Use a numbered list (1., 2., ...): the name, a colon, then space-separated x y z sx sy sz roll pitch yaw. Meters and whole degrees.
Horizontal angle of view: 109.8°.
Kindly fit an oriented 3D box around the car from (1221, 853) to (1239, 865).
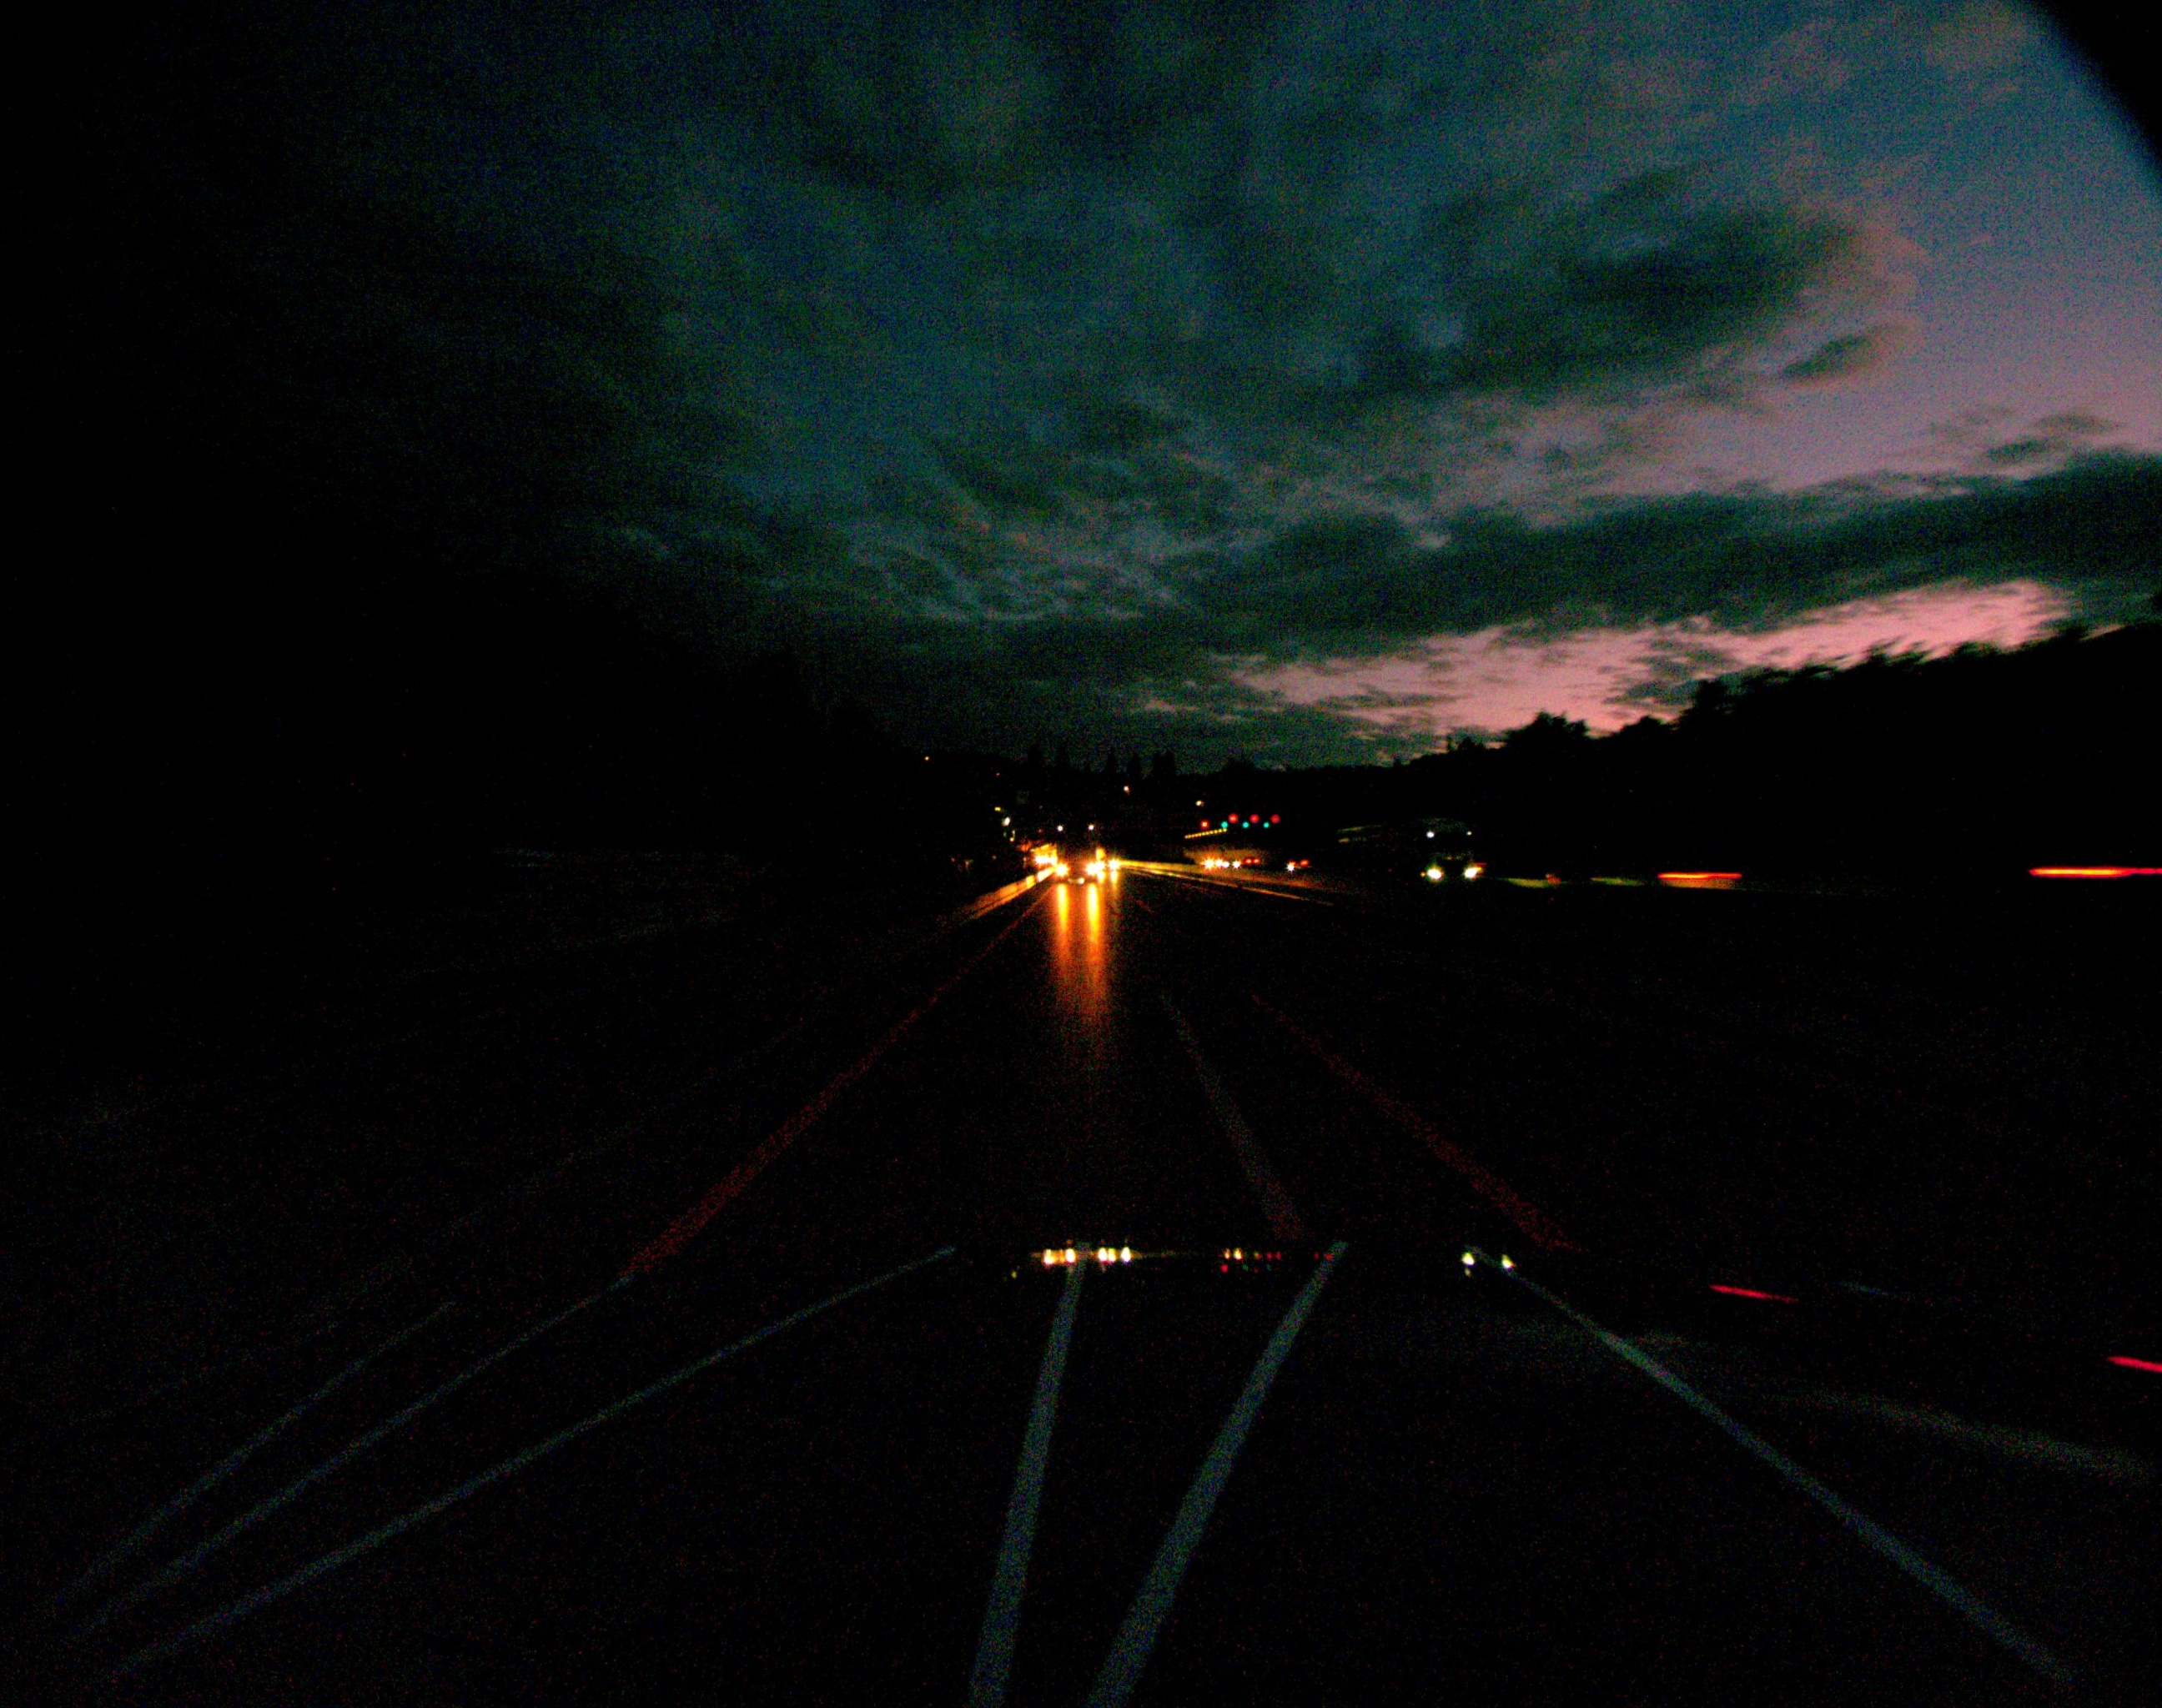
1. car: 20.937 0.674 106.898 1.791 1.472 4.000 -3 1 1

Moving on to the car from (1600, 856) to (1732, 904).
1. car: 23.171 0.953 30.353 1.683 1.628 4.751 -3 1 2

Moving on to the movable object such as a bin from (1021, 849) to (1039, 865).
1. movable object such as a bin: -9.640 0.500 144.443 2.978 2.811 7.194 -3 1 -2

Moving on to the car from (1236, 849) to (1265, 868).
1. car: 18.261 0.420 81.979 2.095 1.873 4.700 -3 1 1

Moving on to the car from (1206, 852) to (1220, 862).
1. car: 20.947 0.471 120.877 1.509 1.472 3.824 -3 1 1

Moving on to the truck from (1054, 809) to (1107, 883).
1. truck: -0.028 -0.527 50.431 2.954 4.241 11.051 -3 1 0

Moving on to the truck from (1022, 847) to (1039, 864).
1. truck: -10.252 0.184 154.946 2.825 3.267 8.351 -3 1 -1

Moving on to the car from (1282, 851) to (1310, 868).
1. car: 24.961 0.619 88.430 1.905 1.728 4.808 -3 1 2

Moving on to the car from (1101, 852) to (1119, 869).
1. car: 3.102 0.671 79.751 1.662 1.586 3.997 -3 1 5

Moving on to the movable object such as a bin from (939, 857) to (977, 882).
1. movable object such as a bin: -8.500 1.014 52.894 1.998 1.592 4.084 0 1 0

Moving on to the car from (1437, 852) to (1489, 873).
1. car: 30.269 0.678 60.344 1.830 1.476 4.701 -3 1 2

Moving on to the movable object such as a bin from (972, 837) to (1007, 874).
1. movable object such as a bin: -8.507 0.100 71.171 2.571 3.299 5.578 0 1 -1

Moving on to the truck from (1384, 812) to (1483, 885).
1. truck: 20.035 -0.335 43.583 2.809 3.753 6.302 -3 1 2

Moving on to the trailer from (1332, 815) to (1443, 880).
1. trailer: 20.295 -0.427 51.369 2.805 3.761 11.835 -3 1 1

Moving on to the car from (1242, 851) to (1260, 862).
1. car: 28.075 0.330 125.500 1.755 1.712 4.669 -3 1 0

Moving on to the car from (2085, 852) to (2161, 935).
1. car: 23.075 0.830 14.426 1.808 1.628 4.751 -3 1 2

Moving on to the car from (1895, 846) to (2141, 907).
1. car: 28.652 0.612 23.546 1.808 1.628 4.751 -3 1 2

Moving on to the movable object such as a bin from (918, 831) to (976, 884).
1. movable object such as a bin: -8.342 0.187 47.923 2.627 3.090 5.804 -1 1 -1
